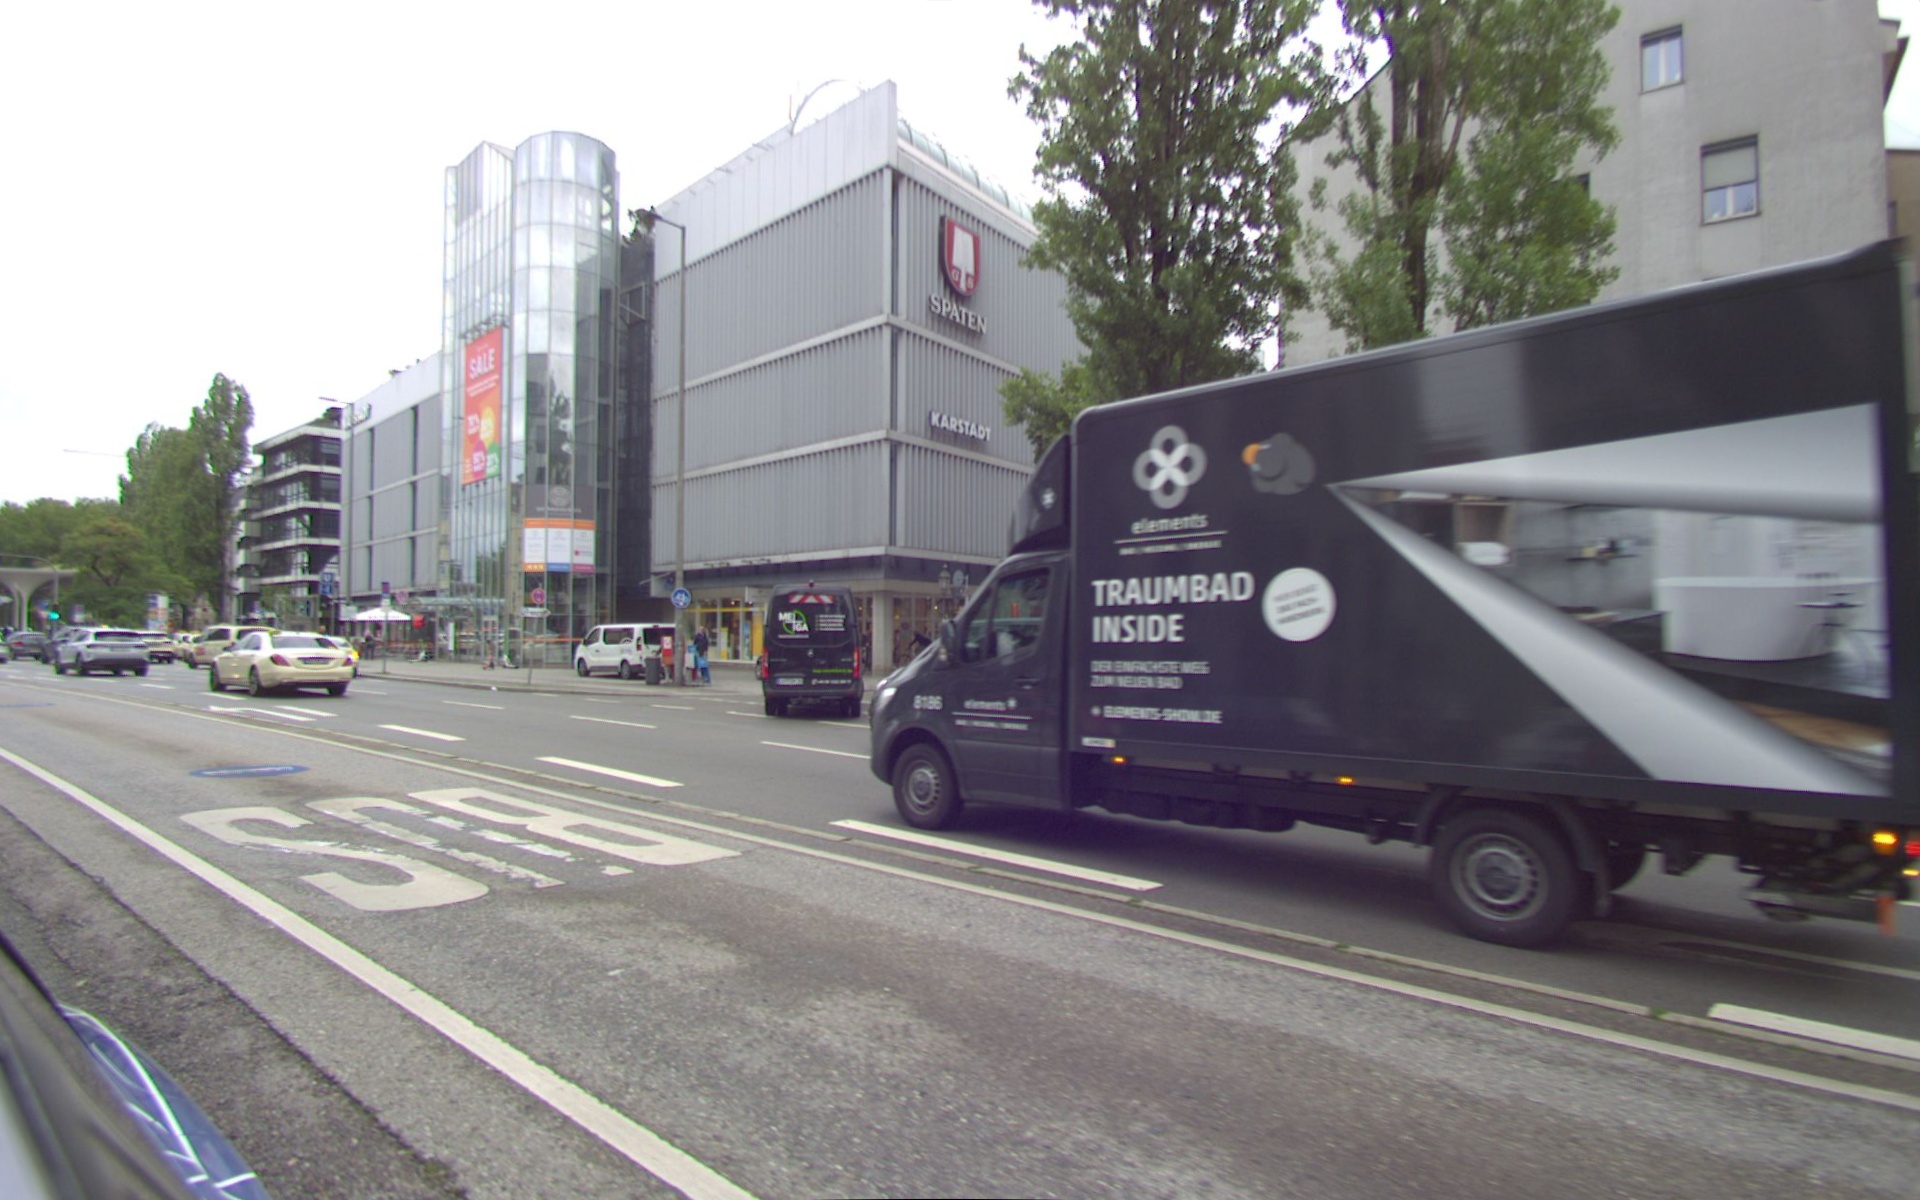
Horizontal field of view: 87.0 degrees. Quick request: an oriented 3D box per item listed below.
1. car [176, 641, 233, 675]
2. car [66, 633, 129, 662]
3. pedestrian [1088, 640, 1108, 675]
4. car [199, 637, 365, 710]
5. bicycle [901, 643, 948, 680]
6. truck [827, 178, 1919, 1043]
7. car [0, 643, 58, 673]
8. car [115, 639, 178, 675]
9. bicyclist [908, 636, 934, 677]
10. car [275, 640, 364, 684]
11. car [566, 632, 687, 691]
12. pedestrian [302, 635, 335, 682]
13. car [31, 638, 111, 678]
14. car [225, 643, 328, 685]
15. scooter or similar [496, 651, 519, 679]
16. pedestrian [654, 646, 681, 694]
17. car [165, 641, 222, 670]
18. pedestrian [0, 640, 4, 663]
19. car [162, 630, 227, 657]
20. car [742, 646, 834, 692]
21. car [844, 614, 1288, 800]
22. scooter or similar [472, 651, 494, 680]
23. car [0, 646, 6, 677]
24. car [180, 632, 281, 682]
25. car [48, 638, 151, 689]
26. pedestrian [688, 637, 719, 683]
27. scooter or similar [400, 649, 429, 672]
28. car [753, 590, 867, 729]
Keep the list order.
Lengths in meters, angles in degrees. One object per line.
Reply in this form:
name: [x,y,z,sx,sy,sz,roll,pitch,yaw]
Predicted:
car: [-39.064,2.968,52.274,4.002,1.628,1.751,-2,-3,45]
car: [-50.841,2.780,59.635,4.463,1.624,1.574,-1,-3,33]
pedestrian: [6.585,2.743,48.328,0.750,1.685,0.709,-1,-3,30]
car: [-16.651,1.741,24.754,5.191,1.601,1.973,-2,-5,40]
bicycle: [-1.421,2.453,40.573,1.825,1.465,0.568,0,-3,-1]
truck: [2.193,0.159,7.051,2.265,3.348,7.160,4,-4,-45]
car: [-48.398,2.995,52.350,3.993,1.477,1.767,-2,-3,37]
car: [-40.786,2.859,50.707,4.384,1.711,1.864,-2,-5,44]
bicyclist: [-1.568,2.253,40.594,1.012,1.624,0.704,0,-3,-2]
car: [-23.043,2.204,36.338,1.834,1.481,4.988,5,-5,-41]
car: [-12.293,2.200,37.120,5.111,2.029,1.972,-2,-3,43]
pedestrian: [-26.376,2.401,41.615,0.845,1.881,0.778,0,-4,37]
car: [-41.195,2.640,46.852,4.978,1.729,1.998,-2,-3,40]
car: [-27.425,2.512,40.564,5.079,1.564,1.958,-2,-3,38]
scooter or similar: [-19.416,2.795,43.429,0.990,1.182,0.253,-1,-3,20]
pedestrian: [-9.446,2.242,32.655,0.654,1.506,0.540,-2,-3,37]
car: [-42.636,3.062,56.256,3.998,1.548,1.734,-2,-3,41]
pedestrian: [-65.982,3.524,69.172,0.752,1.563,0.638,0,-1,8]
car: [-45.722,2.599,60.433,3.990,1.579,1.890,-2,-3,35]
car: [-5.923,2.300,34.468,1.895,1.450,4.521,2,-3,-26]
car: [1.079,1.221,13.000,1.970,1.878,5.714,5,-5,-45]
scooter or similar: [-20.130,2.763,42.719,0.992,1.233,0.252,-1,-3,27]
car: [-45.615,2.789,46.371,4.679,1.405,1.784,-2,-3,35]
car: [-31.708,2.441,43.938,5.311,2.029,1.976,-1,-4,36]
car: [-29.379,2.129,34.529,4.350,1.615,1.890,-2,-3,39]
pedestrian: [-10.559,2.461,41.638,0.905,1.849,0.852,-2,-4,45]
scooter or similar: [-27.526,3.070,51.090,1.368,1.148,0.366,-1,-3,14]
car: [-3.329,1.262,22.356,2.142,2.625,6.075,1,-2,-9]
